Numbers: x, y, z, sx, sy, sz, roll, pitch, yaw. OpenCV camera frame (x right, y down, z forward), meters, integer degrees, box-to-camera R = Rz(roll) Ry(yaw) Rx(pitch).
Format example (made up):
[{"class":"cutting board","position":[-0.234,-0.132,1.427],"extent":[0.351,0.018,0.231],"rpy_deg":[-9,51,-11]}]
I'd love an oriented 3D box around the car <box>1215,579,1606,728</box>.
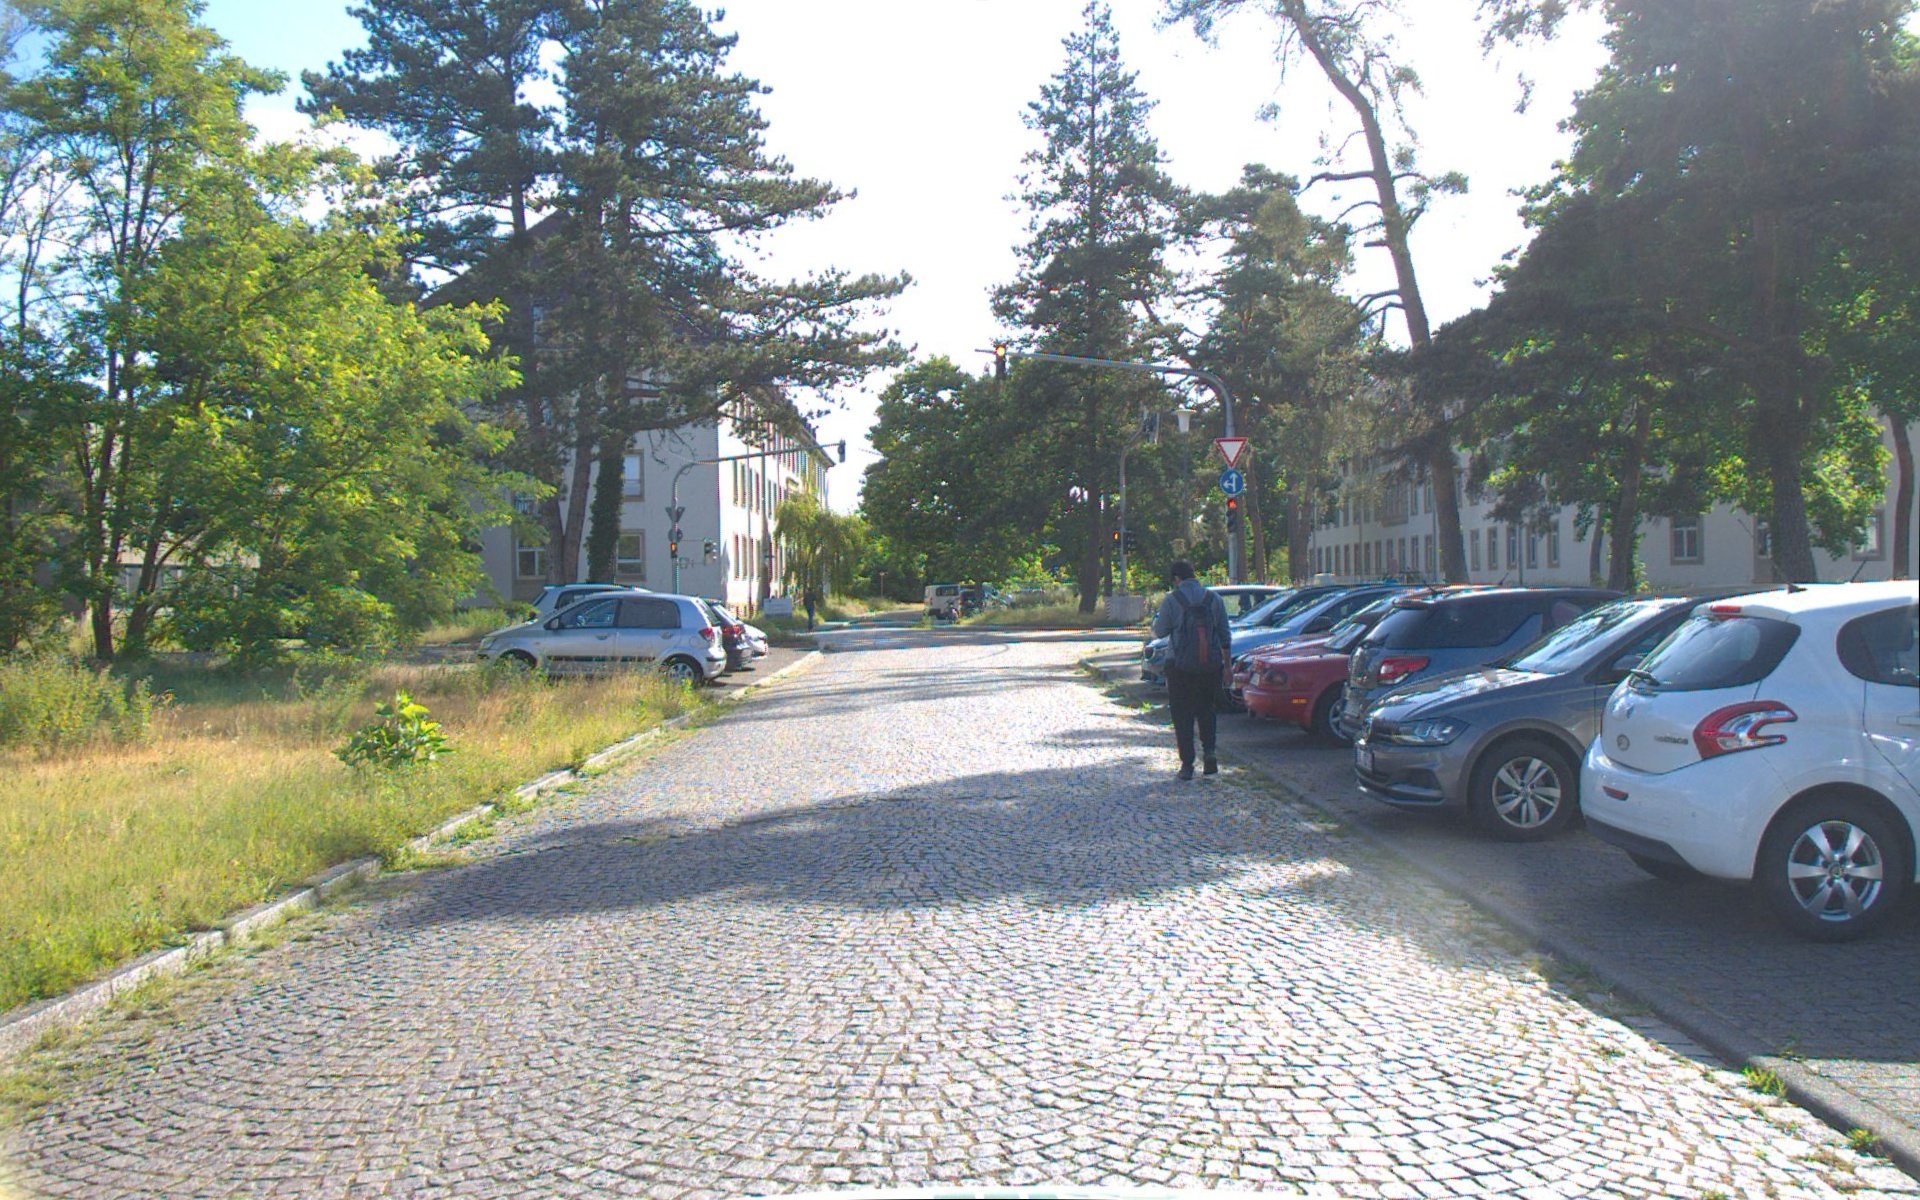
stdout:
[{"class":"car","position":[4.966,0.566,18.574],"extent":[3.898,1.474,1.655],"rpy_deg":[-2,0,-1]}]

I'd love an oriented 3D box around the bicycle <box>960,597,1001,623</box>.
[{"class":"bicycle","position":[0.920,0.453,75.071],"extent":[1.798,1.132,0.495],"rpy_deg":[-1,0,-4]}]

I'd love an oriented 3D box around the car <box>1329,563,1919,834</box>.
[{"class":"car","position":[4.452,0.574,10.713],"extent":[3.703,1.476,1.758],"rpy_deg":[-2,0,1]}]

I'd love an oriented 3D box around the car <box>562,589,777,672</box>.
[{"class":"car","position":[-5.790,0.583,33.262],"extent":[3.903,1.522,1.773],"rpy_deg":[1,0,4]}]

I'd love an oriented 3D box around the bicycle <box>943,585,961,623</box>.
[{"class":"bicycle","position":[-0.355,0.177,71.693],"extent":[0.738,1.608,2.536],"rpy_deg":[-1,0,-1]}]

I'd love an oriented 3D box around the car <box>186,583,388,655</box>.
[{"class":"car","position":[-16.365,0.437,40.389],"extent":[4.059,1.636,2.010],"rpy_deg":[-1,0,0]}]

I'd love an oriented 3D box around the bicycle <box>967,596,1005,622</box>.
[{"class":"bicycle","position":[1.207,0.407,76.300],"extent":[1.693,1.185,0.560],"rpy_deg":[-1,0,-4]}]

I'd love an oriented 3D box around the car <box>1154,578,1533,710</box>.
[{"class":"car","position":[4.738,0.524,20.852],"extent":[4.310,1.413,1.788],"rpy_deg":[-2,0,-2]}]

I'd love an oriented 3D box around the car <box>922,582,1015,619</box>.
[{"class":"car","position":[0.468,0.028,92.959],"extent":[4.974,1.951,1.995],"rpy_deg":[-1,0,-10]}]

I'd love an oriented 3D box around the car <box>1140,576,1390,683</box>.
[{"class":"car","position":[4.768,0.451,26.170],"extent":[3.598,1.468,1.665],"rpy_deg":[-3,0,-1]}]

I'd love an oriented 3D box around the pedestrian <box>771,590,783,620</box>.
[{"class":"pedestrian","position":[-9.855,0.283,88.997],"extent":[0.595,1.587,0.544],"rpy_deg":[-1,0,-7]}]

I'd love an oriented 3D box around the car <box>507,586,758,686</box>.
[{"class":"car","position":[-5.445,0.585,27.874],"extent":[3.858,1.470,1.690],"rpy_deg":[2,0,-2]}]

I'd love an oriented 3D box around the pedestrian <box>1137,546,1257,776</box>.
[{"class":"pedestrian","position":[1.903,0.477,13.376],"extent":[0.738,1.755,0.828],"rpy_deg":[4,0,-1]}]

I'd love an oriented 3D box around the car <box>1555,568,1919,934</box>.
[{"class":"car","position":[4.887,0.599,7.786],"extent":[3.570,1.518,1.634],"rpy_deg":[-1,0,0]}]

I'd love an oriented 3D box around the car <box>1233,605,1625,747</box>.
[{"class":"car","position":[4.497,0.711,16.179],"extent":[3.390,1.264,1.536],"rpy_deg":[-1,0,0]}]

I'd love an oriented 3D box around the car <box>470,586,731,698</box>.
[{"class":"car","position":[-5.407,0.617,25.210],"extent":[3.612,1.554,1.698],"rpy_deg":[1,0,-3]}]

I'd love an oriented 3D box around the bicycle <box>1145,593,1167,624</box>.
[{"class":"bicycle","position":[7.499,0.306,63.246],"extent":[0.706,1.134,2.586],"rpy_deg":[-1,0,9]}]

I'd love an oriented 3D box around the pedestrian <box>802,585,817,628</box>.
[{"class":"pedestrian","position":[-6.401,0.276,70.405],"extent":[0.594,1.783,0.630],"rpy_deg":[-1,0,-1]}]

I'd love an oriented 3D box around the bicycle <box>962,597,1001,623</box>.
[{"class":"bicycle","position":[0.983,0.451,75.616],"extent":[1.693,1.132,0.484],"rpy_deg":[-1,0,-4]}]

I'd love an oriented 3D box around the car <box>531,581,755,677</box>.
[{"class":"car","position":[-5.802,0.514,30.544],"extent":[3.801,1.643,1.660],"rpy_deg":[1,0,-2]}]

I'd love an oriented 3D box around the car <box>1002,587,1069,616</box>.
[{"class":"car","position":[4.416,0.080,96.933],"extent":[3.673,1.607,1.738],"rpy_deg":[-1,0,-8]}]

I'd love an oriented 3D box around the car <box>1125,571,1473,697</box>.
[{"class":"car","position":[4.776,0.457,23.718],"extent":[4.528,1.481,1.869],"rpy_deg":[-3,0,-3]}]

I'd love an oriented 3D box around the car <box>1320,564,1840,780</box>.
[{"class":"car","position":[4.954,0.546,13.552],"extent":[3.589,1.480,1.666],"rpy_deg":[-3,0,-1]}]
